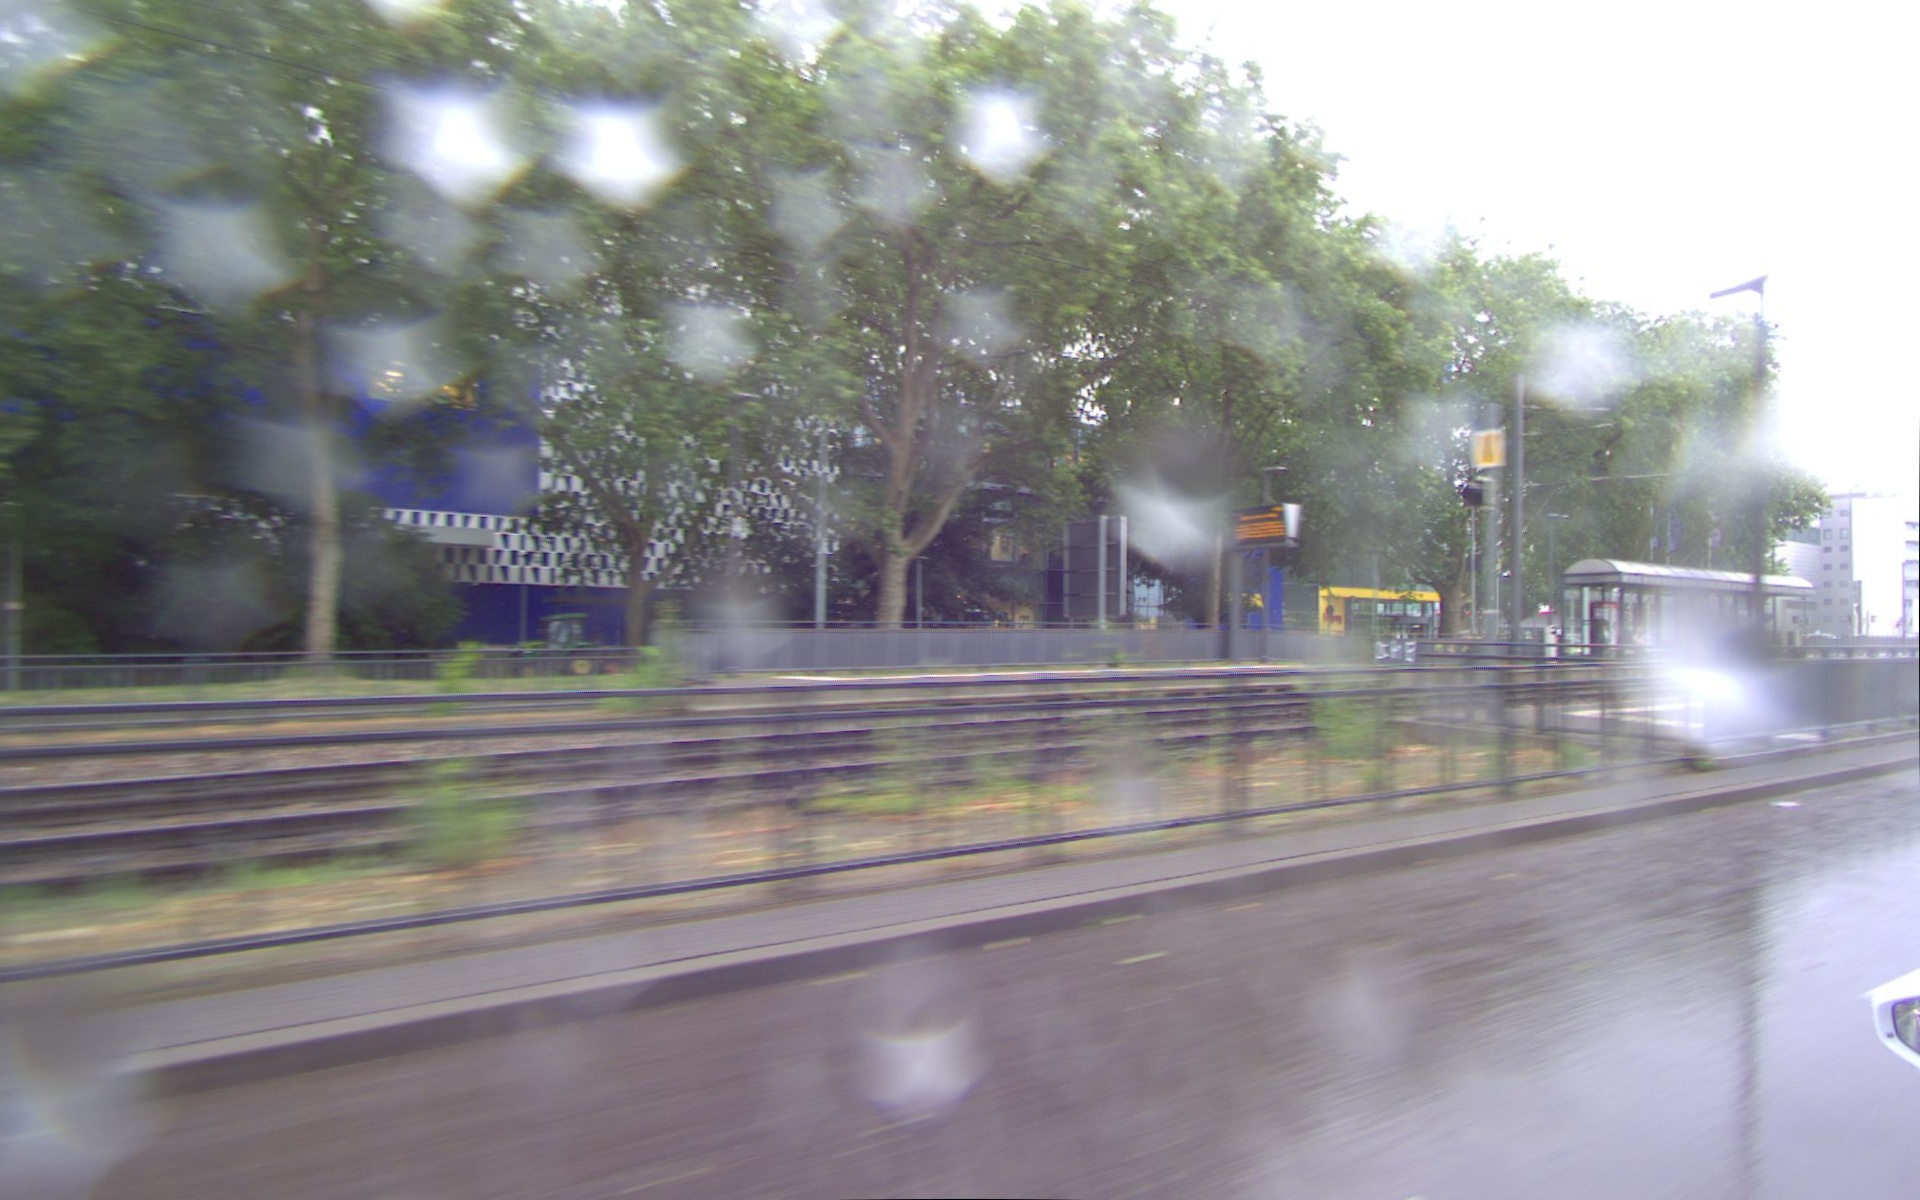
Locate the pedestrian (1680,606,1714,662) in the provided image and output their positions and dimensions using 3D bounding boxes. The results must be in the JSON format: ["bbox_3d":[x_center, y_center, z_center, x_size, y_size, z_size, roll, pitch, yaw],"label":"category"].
[{"bbox_3d":[26.226,1.219,35.743,0.804,1.959,0.619,1,0,-27],"label":"pedestrian"}]

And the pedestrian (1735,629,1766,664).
[{"bbox_3d":[30.716,1.785,39.045,0.804,1.320,0.640,1,0,-27],"label":"pedestrian"}]

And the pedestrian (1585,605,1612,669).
[{"bbox_3d":[20.724,1.188,32.590,0.576,2.040,0.491,1,0,-30],"label":"pedestrian"}]

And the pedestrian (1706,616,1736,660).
[{"bbox_3d":[28.596,1.416,37.755,0.814,1.582,0.671,2,0,34],"label":"pedestrian"}]

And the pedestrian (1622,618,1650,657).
[{"bbox_3d":[22.658,1.267,33.667,0.655,1.284,0.491,1,0,-27],"label":"pedestrian"}]
